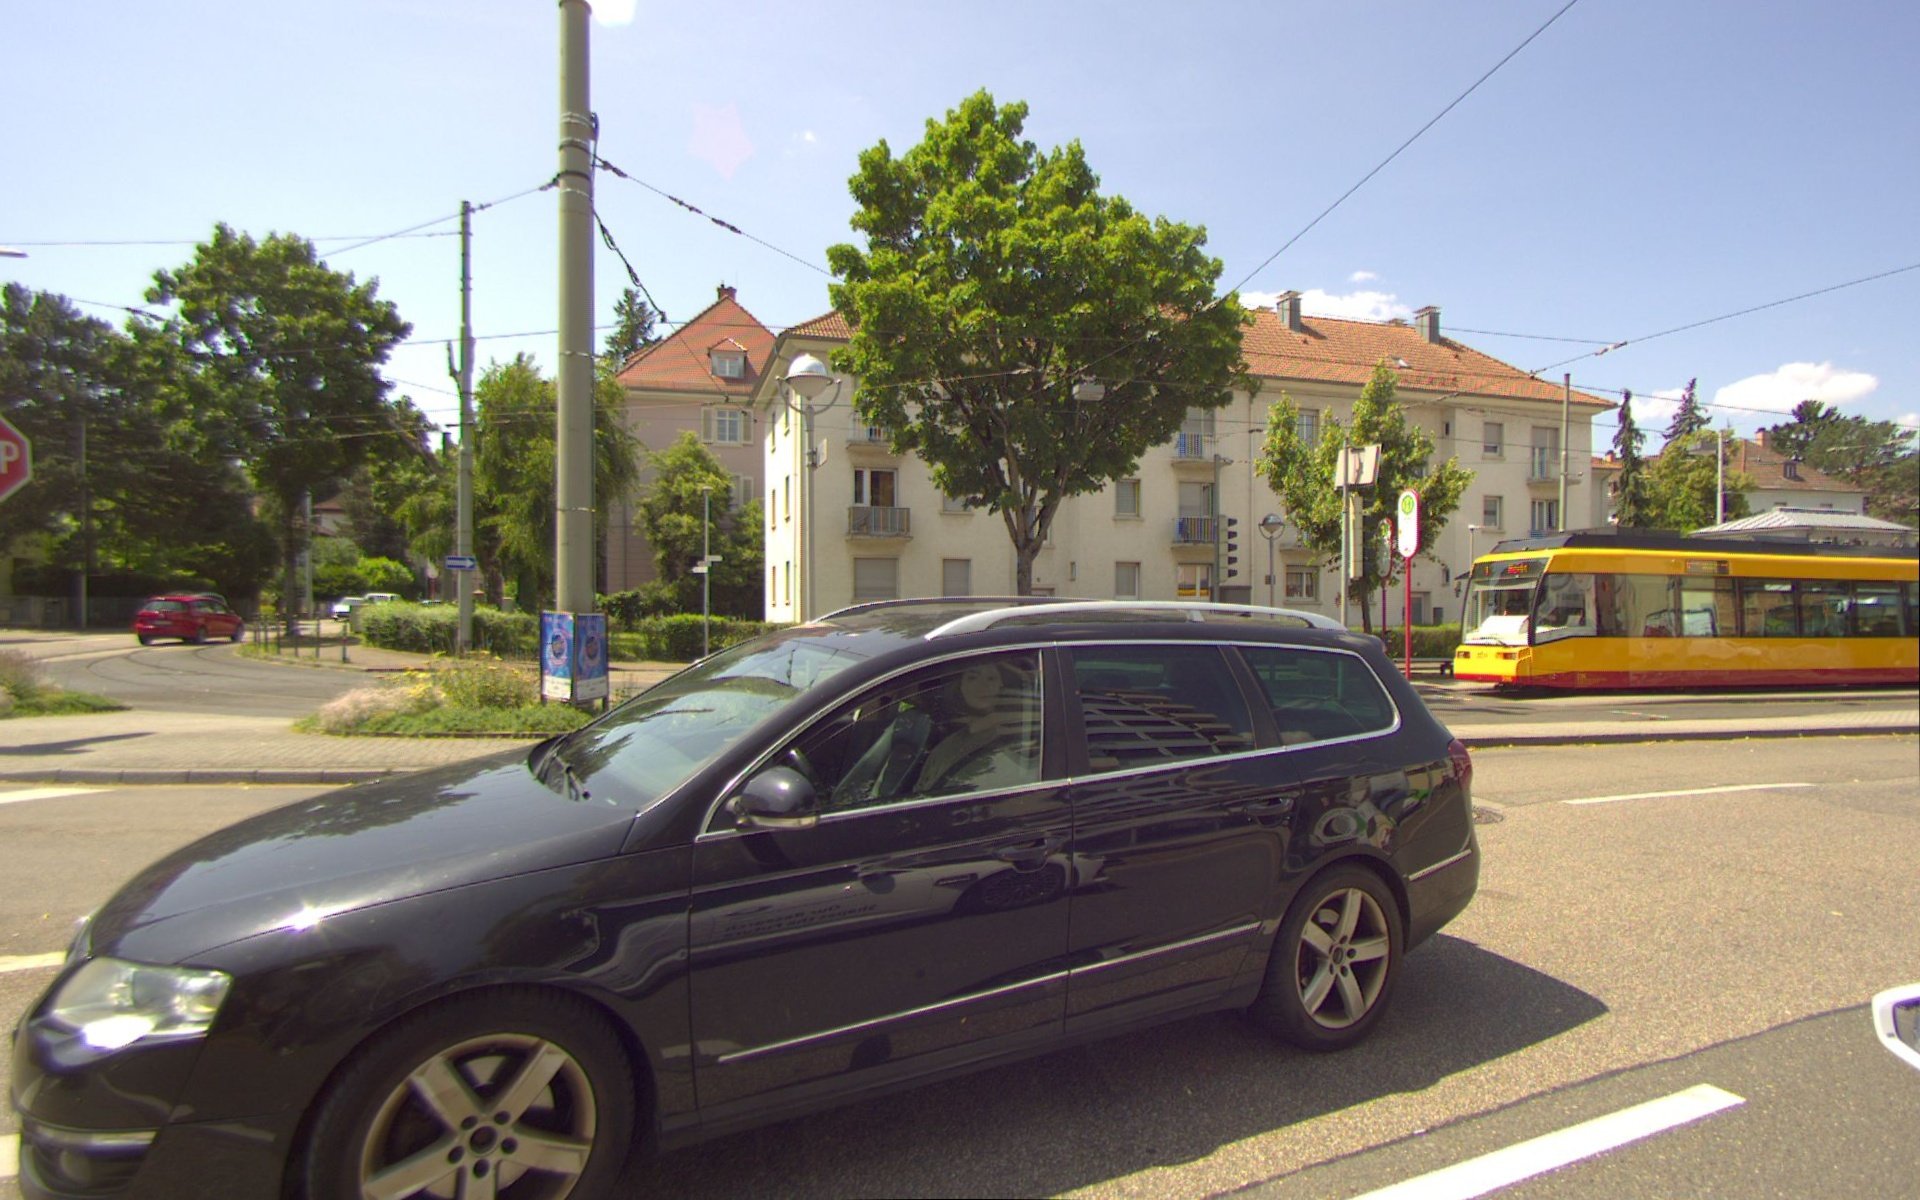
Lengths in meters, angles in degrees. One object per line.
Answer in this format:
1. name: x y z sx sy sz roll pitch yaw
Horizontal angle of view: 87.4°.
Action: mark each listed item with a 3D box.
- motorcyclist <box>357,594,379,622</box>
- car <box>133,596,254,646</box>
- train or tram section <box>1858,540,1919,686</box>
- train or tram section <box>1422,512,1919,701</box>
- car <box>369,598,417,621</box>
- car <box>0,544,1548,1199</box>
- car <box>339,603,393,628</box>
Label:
1. motorcyclist: -32.192 0.442 54.640 0.700 1.465 1.017 1 0 -9
2. car: -26.262 0.700 34.589 1.774 1.578 4.027 2 -1 -13
3. train or tram section: 30.669 0.424 26.995 14.469 3.616 2.784 1 -1 -18
4. train or tram section: 17.147 0.235 22.682 13.953 3.616 2.808 1 -1 -18
5. car: -42.896 0.755 76.078 1.772 1.578 4.031 4 -1 -9
6. car: -0.170 0.715 3.671 4.455 1.539 1.986 1 -1 -28
7. car: -41.097 1.065 69.637 1.772 1.578 4.031 4 -1 -9
